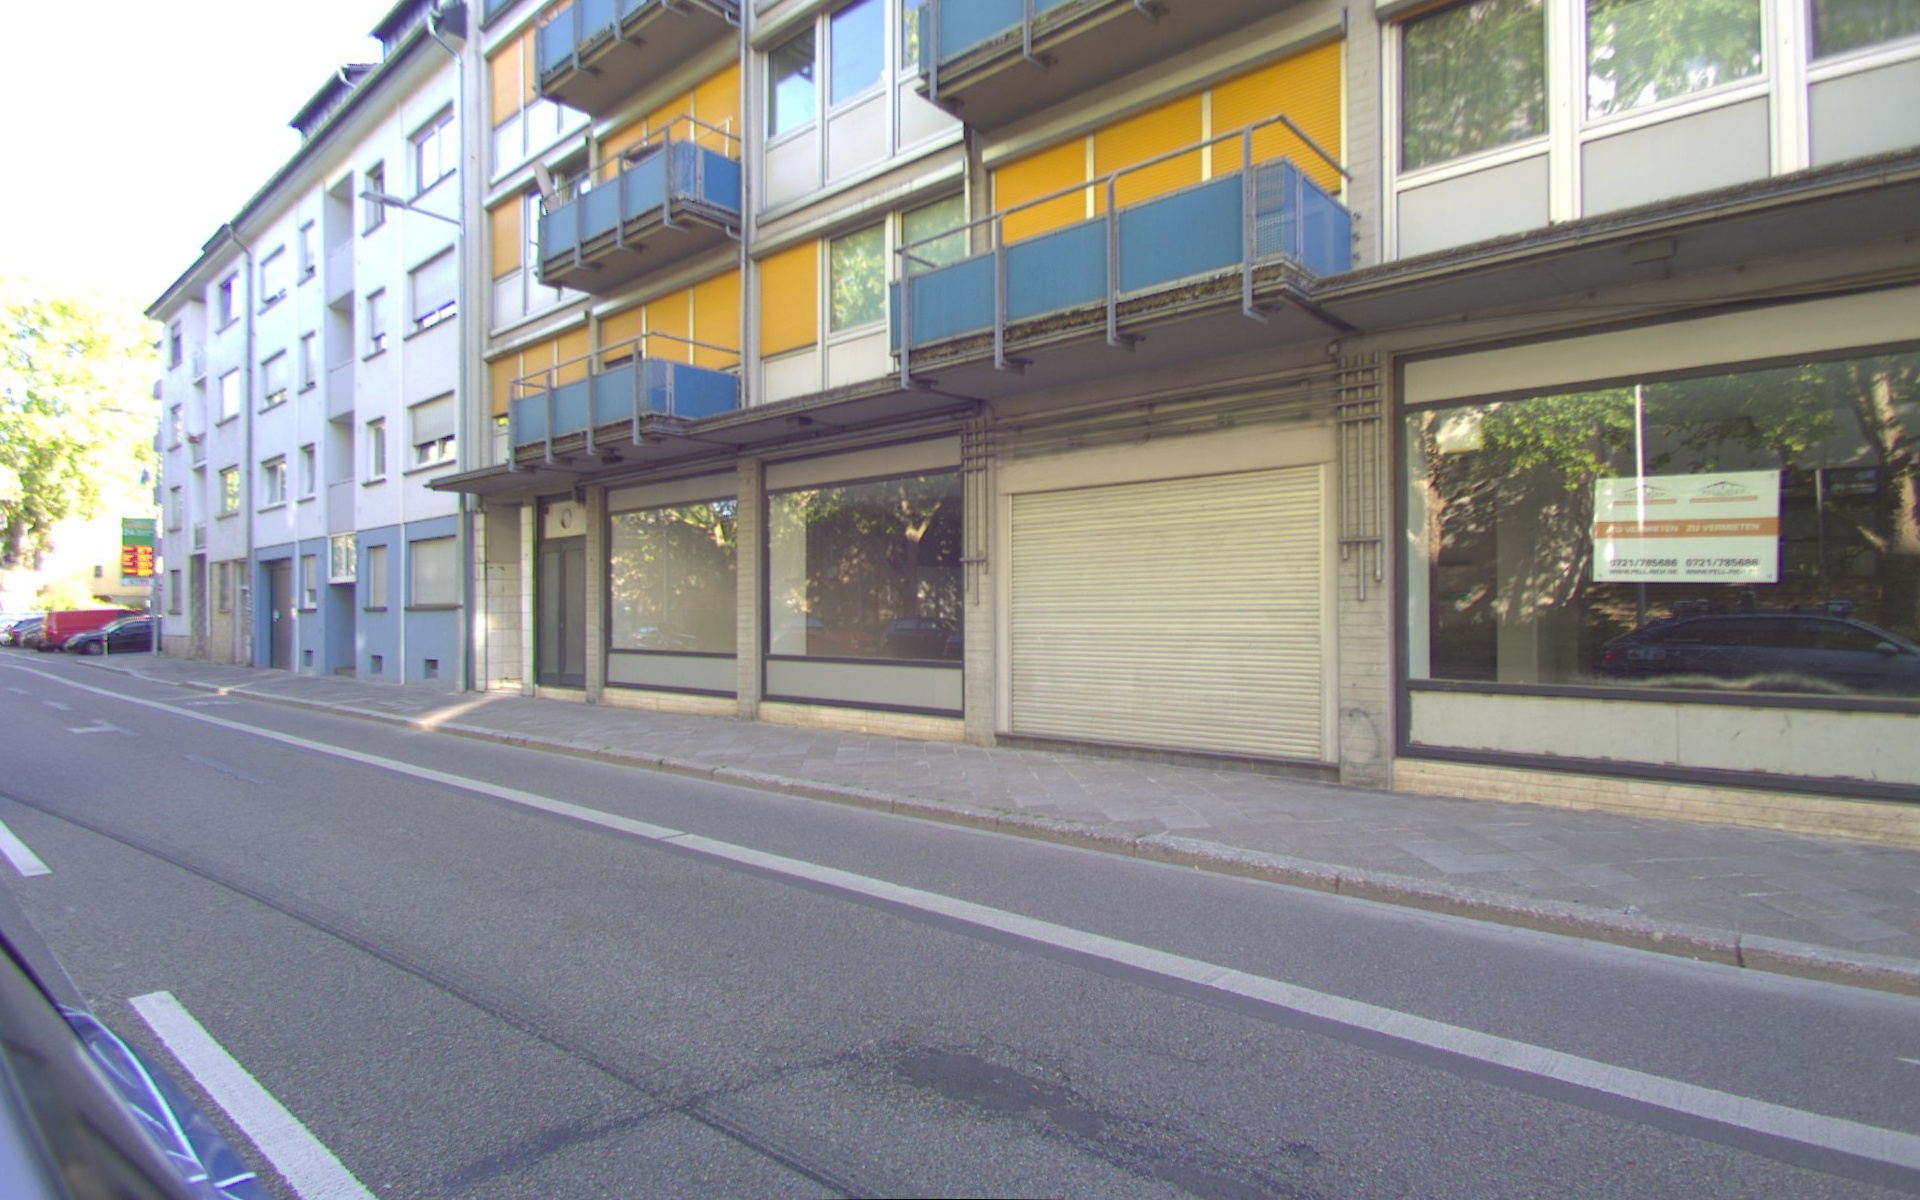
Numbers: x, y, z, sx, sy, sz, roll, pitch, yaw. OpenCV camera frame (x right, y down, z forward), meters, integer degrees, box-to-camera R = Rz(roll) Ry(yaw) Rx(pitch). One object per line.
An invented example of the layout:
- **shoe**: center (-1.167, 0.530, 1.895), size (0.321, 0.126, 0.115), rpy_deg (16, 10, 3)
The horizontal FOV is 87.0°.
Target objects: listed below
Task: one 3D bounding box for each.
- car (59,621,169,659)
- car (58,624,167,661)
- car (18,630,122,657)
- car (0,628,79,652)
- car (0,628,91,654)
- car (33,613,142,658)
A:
- **car**: center (-38.187, 1.767, 45.723), size (1.490, 1.523, 3.638), rpy_deg (-1, 0, 43)
- **car**: center (-36.670, 1.810, 43.843), size (1.490, 1.398, 3.462), rpy_deg (-1, 0, 43)
- **car**: center (-42.808, 2.073, 48.737), size (1.345, 1.137, 3.638), rpy_deg (-1, 0, 43)
- **car**: center (-52.254, 2.249, 57.504), size (1.345, 1.254, 3.228), rpy_deg (-1, 0, 43)
- **car**: center (-50.440, 2.242, 55.875), size (1.345, 1.254, 3.638), rpy_deg (-1, 0, 43)
- **car**: center (-40.646, 1.647, 47.223), size (1.488, 1.923, 3.642), rpy_deg (-4, -2, 39)
